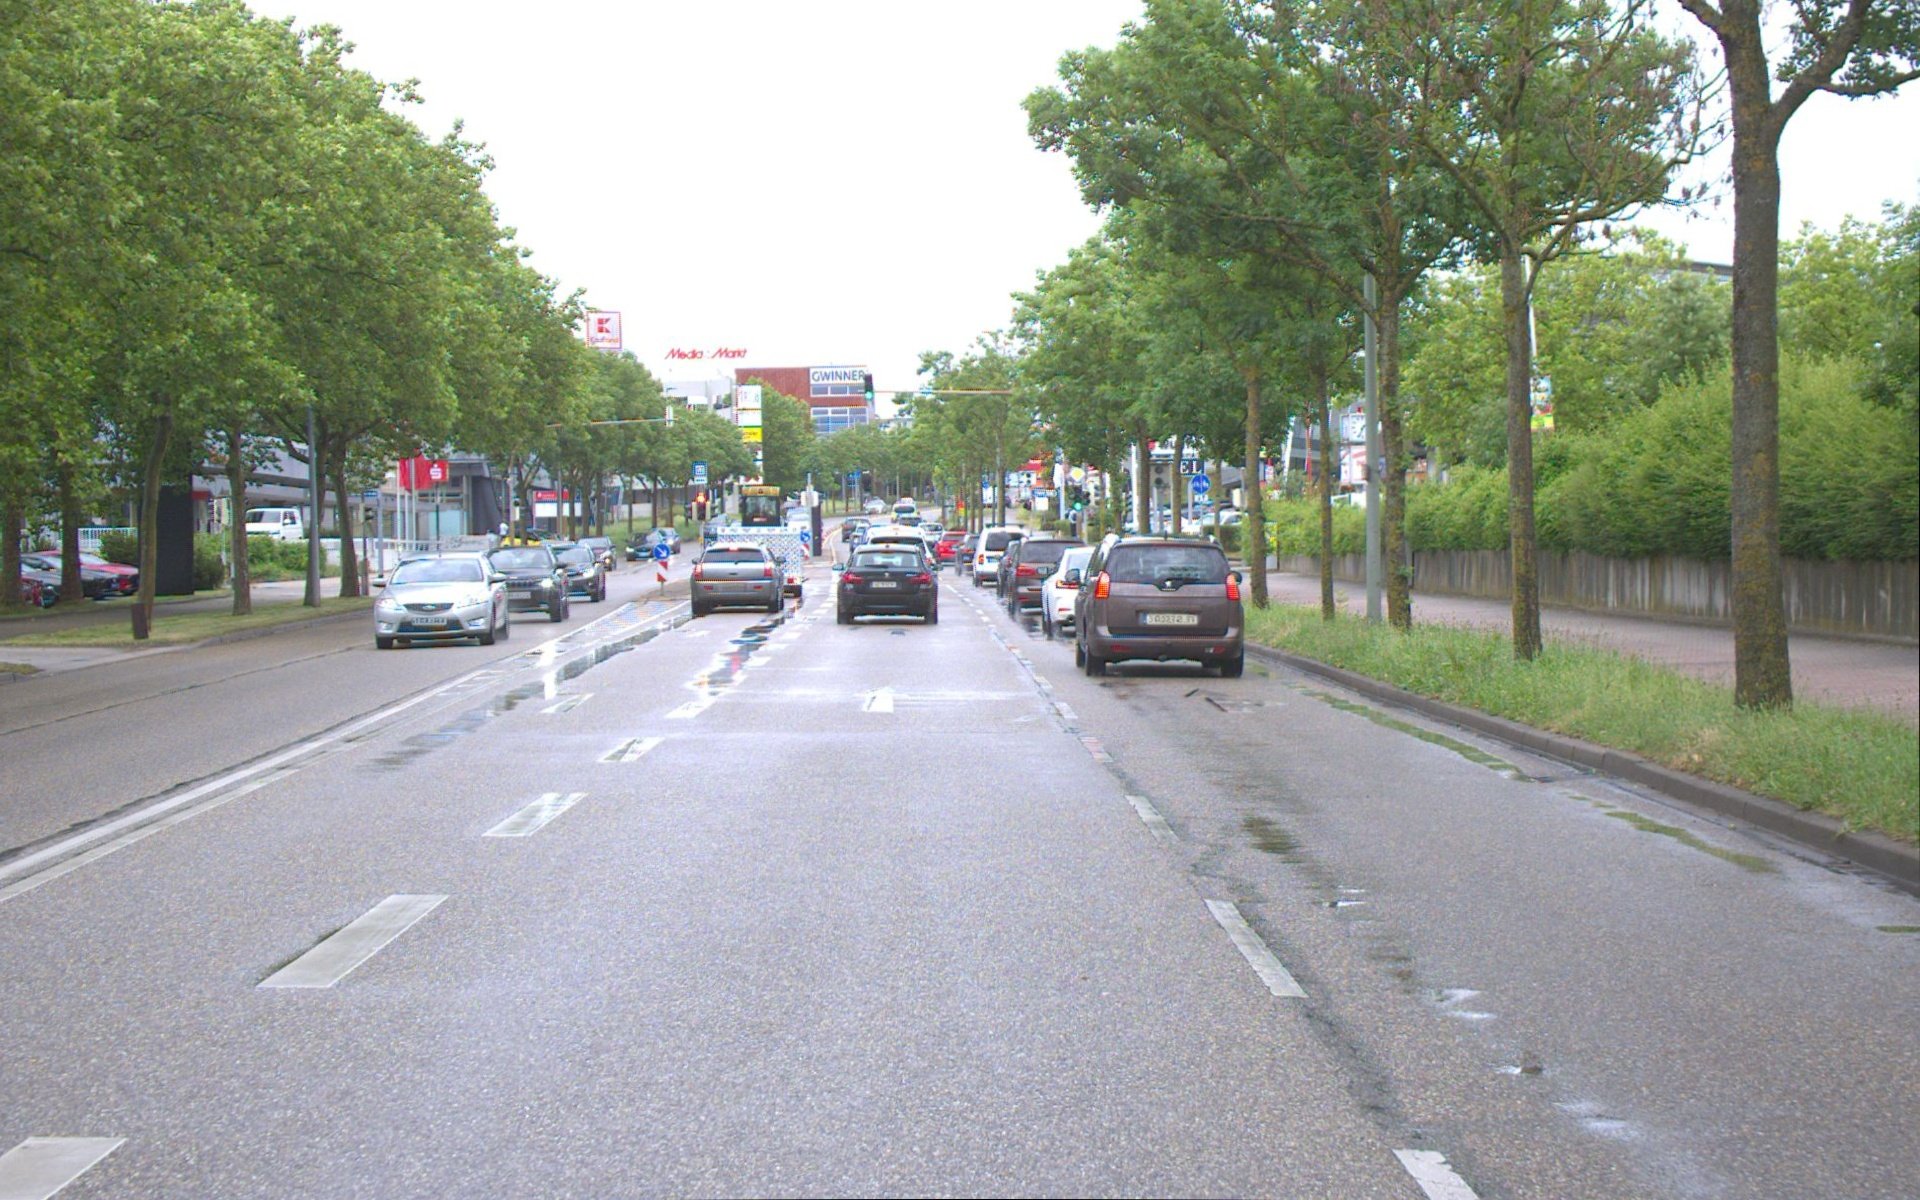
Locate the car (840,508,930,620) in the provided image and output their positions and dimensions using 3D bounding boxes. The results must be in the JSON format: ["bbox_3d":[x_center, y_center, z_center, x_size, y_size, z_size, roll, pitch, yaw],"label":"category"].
[{"bbox_3d":[-1.376,-0.695,64.281,1.594,2.007,4.346,-1,1,-1],"label":"car"}]

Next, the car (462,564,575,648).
[{"bbox_3d":[-8.843,0.101,69.074,1.762,1.526,3.858,-3,1,-1],"label":"car"}]

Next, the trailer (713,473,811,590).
[{"bbox_3d":[-5.100,-1.771,89.100,2.372,2.887,5.546,-2,1,-3],"label":"trailer"}]

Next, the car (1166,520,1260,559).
[{"bbox_3d":[11.022,-2.652,149.513,1.930,1.571,4.278,0,2,40],"label":"car"}]

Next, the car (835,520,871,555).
[{"bbox_3d":[-6.314,-3.679,203.280,1.993,2.007,4.000,1,0,-1],"label":"car"}]

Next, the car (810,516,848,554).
[{"bbox_3d":[-7.214,-3.566,189.789,1.993,2.007,4.000,1,0,-1],"label":"car"}]

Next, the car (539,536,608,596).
[{"bbox_3d":[-10.003,-0.890,88.861,1.666,1.457,4.182,-2,1,-7],"label":"car"}]

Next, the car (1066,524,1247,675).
[{"bbox_3d":[2.222,-0.049,39.839,1.726,1.619,4.471,-1,1,-1],"label":"car"}]

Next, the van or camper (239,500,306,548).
[{"bbox_3d":[-29.207,-3.229,146.167,1.993,1.960,4.789,1,0,-2],"label":"van or camper"}]

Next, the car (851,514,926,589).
[{"bbox_3d":[-1.980,-1.325,94.398,1.993,2.007,4.000,1,0,-1],"label":"car"}]

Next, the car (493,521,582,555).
[{"bbox_3d":[-20.630,-3.015,167.922,3.994,1.546,1.896,-1,2,33],"label":"car"}]

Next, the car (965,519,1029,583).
[{"bbox_3d":[1.096,-1.509,104.007,1.782,1.860,4.000,-2,1,-1],"label":"car"}]

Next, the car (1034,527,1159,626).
[{"bbox_3d":[2.227,-0.423,57.007,1.801,1.539,4.620,1,1,-1],"label":"car"}]

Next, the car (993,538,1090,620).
[{"bbox_3d":[1.654,-0.463,71.159,1.801,1.581,4.451,1,2,-1],"label":"car"}]

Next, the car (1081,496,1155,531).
[{"bbox_3d":[9.038,-4.971,196.798,4.111,1.898,1.800,-2,2,0],"label":"car"}]

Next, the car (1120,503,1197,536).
[{"bbox_3d":[9.684,-3.906,167.317,3.589,1.530,1.643,-3,2,-41],"label":"car"}]

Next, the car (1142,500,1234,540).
[{"bbox_3d":[10.714,-3.784,161.587,4.016,1.657,1.982,-5,3,-40],"label":"car"}]

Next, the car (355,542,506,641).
[{"bbox_3d":[-8.357,-0.169,54.638,1.993,1.424,4.686,-2,1,-5],"label":"car"}]

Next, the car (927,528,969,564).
[{"bbox_3d":[-0.499,-2.275,143.434,1.695,1.438,3.989,-1,1,-1],"label":"car"}]

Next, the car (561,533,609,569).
[{"bbox_3d":[-15.879,-2.073,145.685,1.709,1.460,4.086,-2,1,-3],"label":"car"}]

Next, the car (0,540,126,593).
[{"bbox_3d":[-27.437,-1.015,104.162,3.978,1.484,1.879,-1,2,-6],"label":"car"}]

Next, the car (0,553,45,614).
[{"bbox_3d":[-26.491,-0.438,90.158,4.553,1.590,2.000,-1,1,-23],"label":"car"}]

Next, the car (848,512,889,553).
[{"bbox_3d":[-4.595,-3.391,173.811,1.993,2.007,4.000,1,0,-1],"label":"car"}]

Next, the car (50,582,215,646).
[{"bbox_3d":[-23.710,0.381,98.517,4.217,1.590,2.000,-3,2,-24],"label":"car"}]

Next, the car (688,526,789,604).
[{"bbox_3d":[-4.732,-0.783,73.974,1.907,1.573,4.881,-2,1,-1],"label":"car"}]

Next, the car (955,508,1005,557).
[{"bbox_3d":[0.685,-2.338,119.921,1.685,1.678,3.403,1,0,-1],"label":"car"}]

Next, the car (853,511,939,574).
[{"bbox_3d":[-1.502,-1.342,79.099,1.682,1.372,4.001,-1,1,-5],"label":"car"}]

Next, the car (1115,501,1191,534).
[{"bbox_3d":[9.839,-4.211,175.018,3.589,1.530,1.796,-3,2,-41],"label":"car"}]
